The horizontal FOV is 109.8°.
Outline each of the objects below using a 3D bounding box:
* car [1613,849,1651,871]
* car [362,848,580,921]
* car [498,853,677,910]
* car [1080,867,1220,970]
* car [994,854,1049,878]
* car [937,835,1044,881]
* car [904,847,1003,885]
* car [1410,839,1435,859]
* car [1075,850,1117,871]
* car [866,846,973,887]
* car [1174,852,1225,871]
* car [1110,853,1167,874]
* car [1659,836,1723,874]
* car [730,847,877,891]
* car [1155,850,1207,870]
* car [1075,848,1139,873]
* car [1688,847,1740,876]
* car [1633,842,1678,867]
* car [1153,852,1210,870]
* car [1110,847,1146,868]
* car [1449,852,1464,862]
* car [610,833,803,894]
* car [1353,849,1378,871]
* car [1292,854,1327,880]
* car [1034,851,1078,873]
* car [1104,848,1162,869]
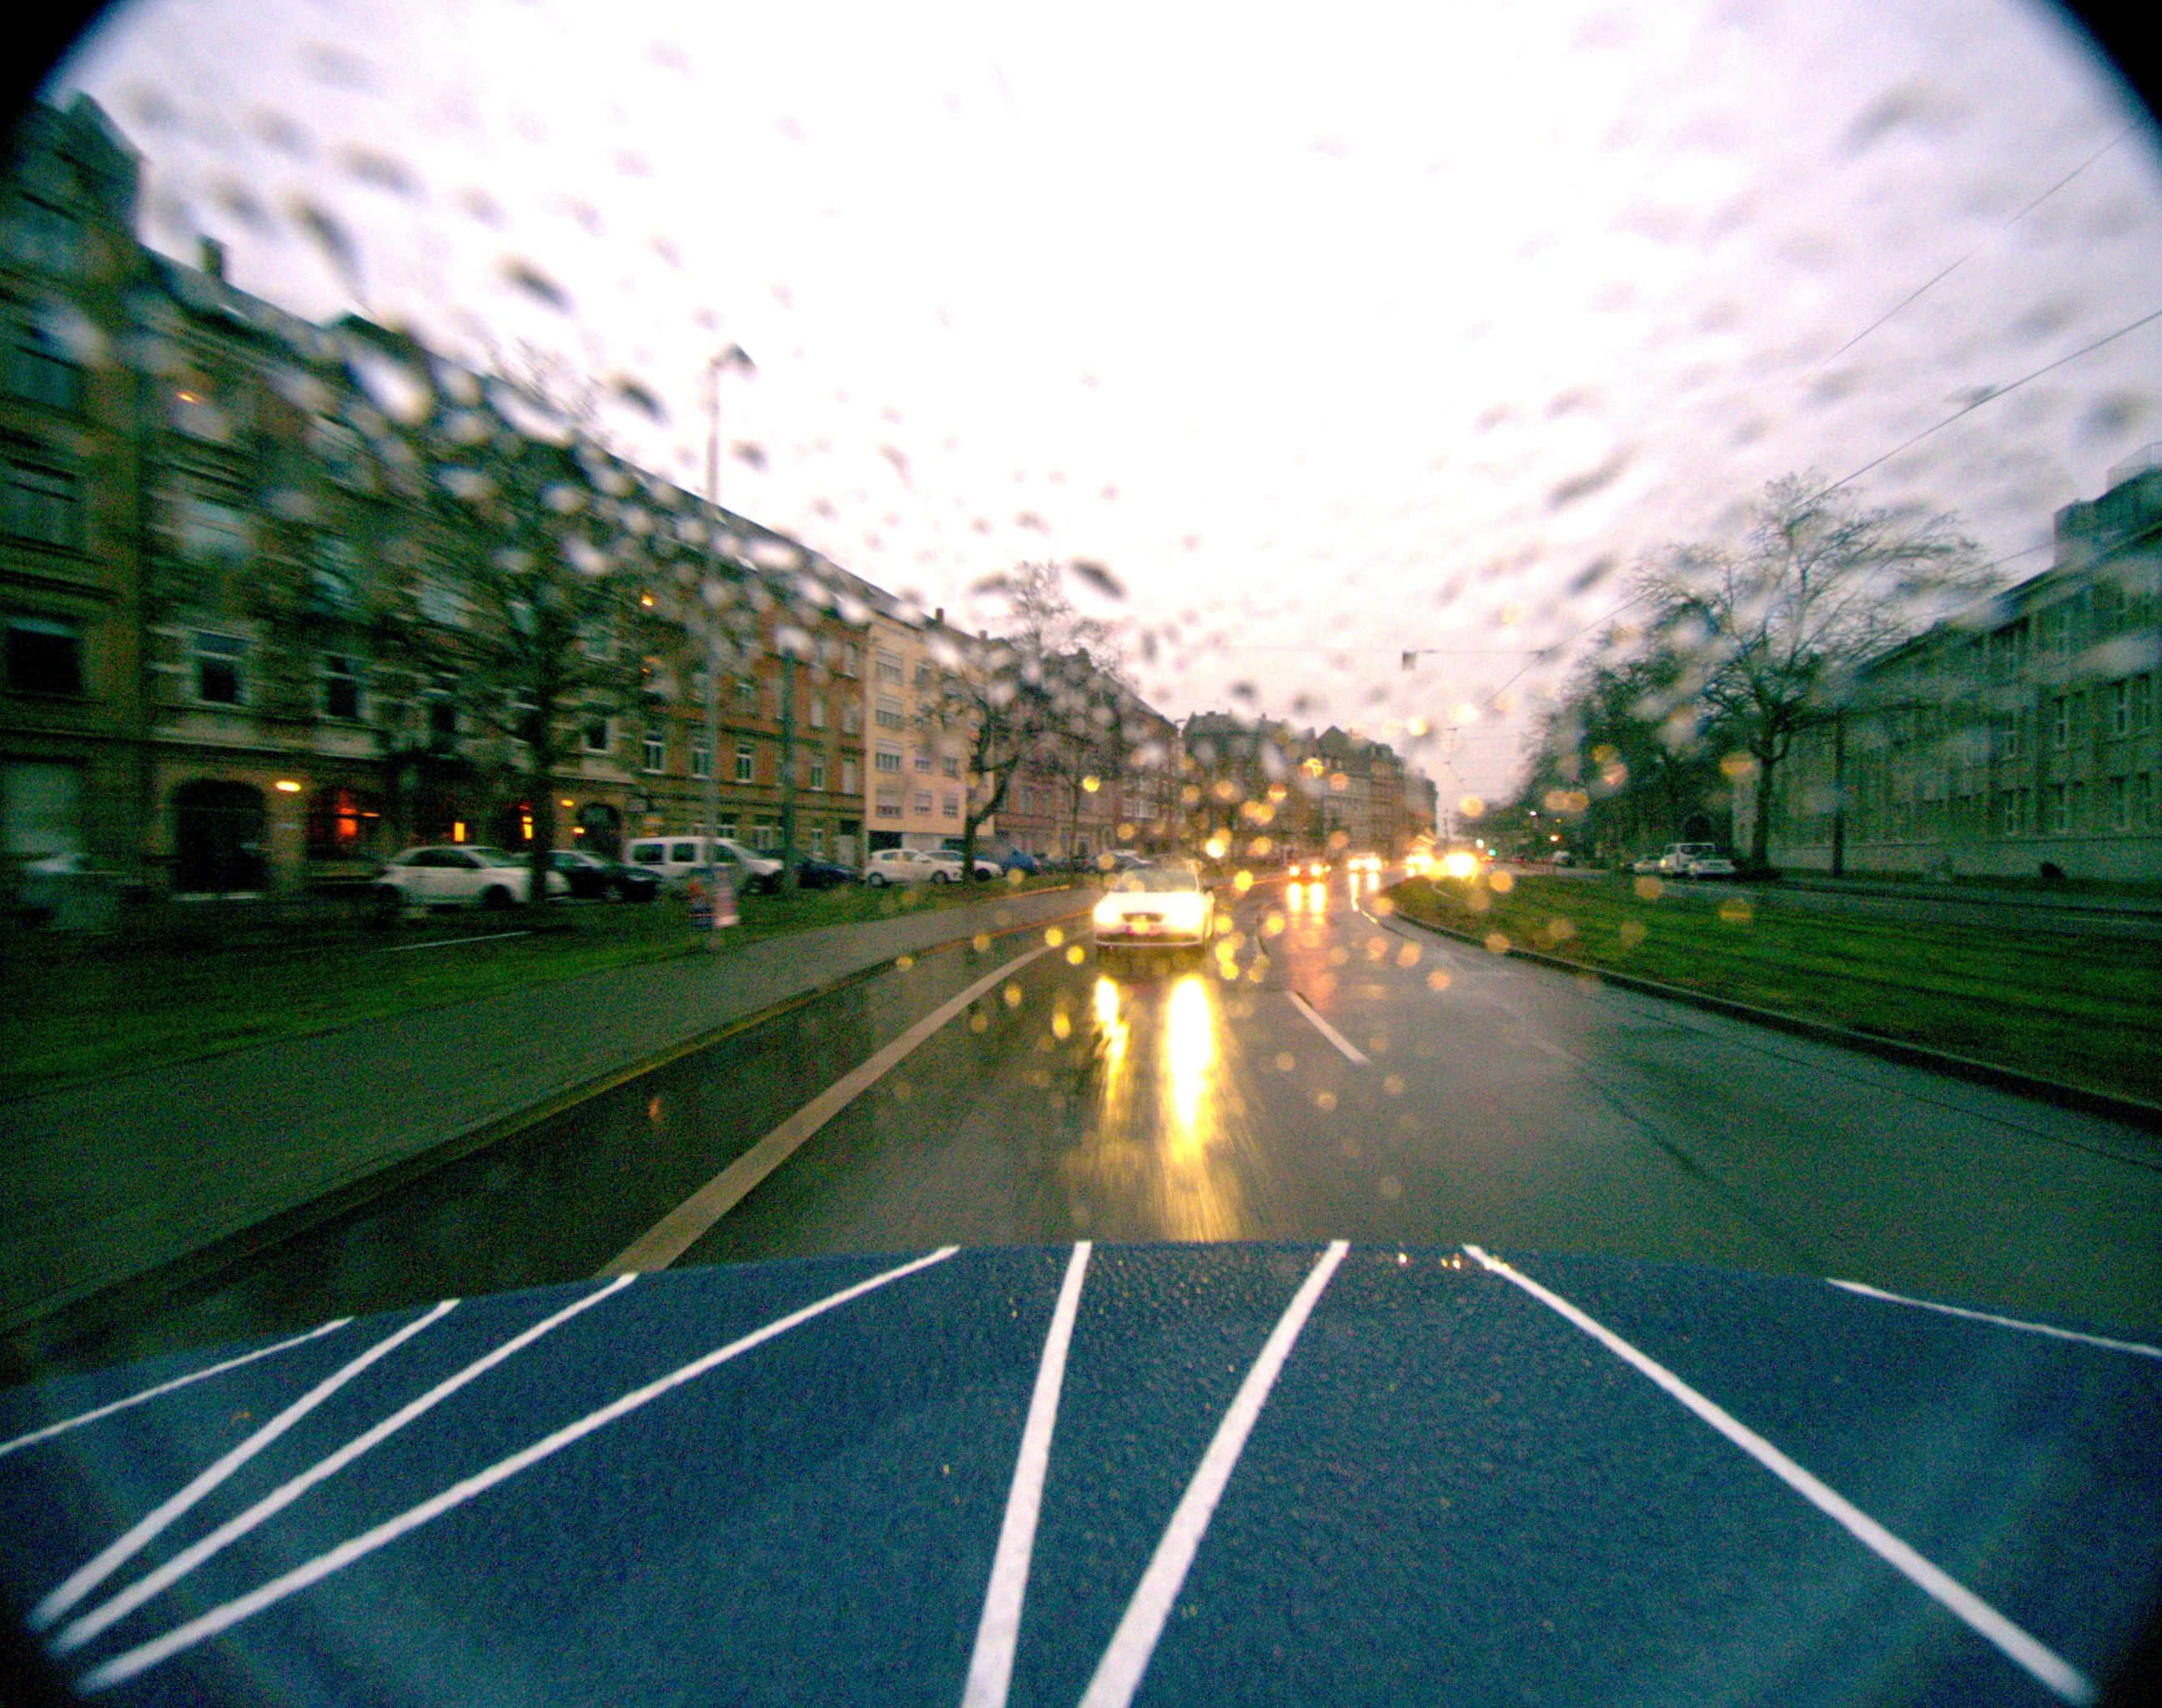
[{"bbox_3d":[42.727,0.419,58.967,1.612,1.650,3.617,0,0,23],"label":"car"},{"bbox_3d":[-13.424,0.643,16.862,3.464,1.435,1.614,-2,0,-1],"label":"car"},{"bbox_3d":[-12.537,0.677,19.482,3.432,1.343,1.663,-1,0,-6],"label":"car"},{"bbox_3d":[1.327,0.997,13.045,1.713,1.405,3.683,-2,0,15],"label":"car"},{"bbox_3d":[-4.082,0.824,52.598,1.748,1.469,4.185,-2,0,28],"label":"car"},{"bbox_3d":[-4.184,0.188,35.002,4.723,1.971,1.798,-1,0,-9],"label":"car"},{"bbox_3d":[-5.379,0.490,32.237,4.000,1.407,1.640,-2,0,-9],"label":"car"},{"bbox_3d":[42.757,-0.610,95.121,2.125,2.366,5.649,-2,0,31],"label":"car"},{"bbox_3d":[1.246,0.526,62.714,1.690,1.534,4.007,-2,0,30],"label":"car"},{"bbox_3d":[-6.299,0.491,29.939,3.772,1.424,1.761,-2,0,1],"label":"car"},{"bbox_3d":[9.289,0.559,59.825,3.762,1.346,1.602,-2,0,4],"label":"car"},{"bbox_3d":[3.917,0.629,51.820,3.763,1.324,1.602,-2,0,4],"label":"car"},{"bbox_3d":[35.261,0.032,44.051,1.995,2.002,4.517,-2,0,27],"label":"car"},{"bbox_3d":[-8.895,0.479,24.596,4.061,1.227,1.770,2,-1,-2],"label":"car"},{"bbox_3d":[7.539,0.443,57.552,3.762,1.346,1.602,-2,0,4],"label":"car"},{"bbox_3d":[1.569,0.412,47.264,3.872,1.398,1.694,-2,0,-1],"label":"car"},{"bbox_3d":[33.236,0.386,39.971,1.557,1.420,2.960,0,1,28],"label":"car"},{"bbox_3d":[40.020,0.023,53.003,1.823,1.645,3.866,-2,0,27],"label":"car"},{"bbox_3d":[7.126,0.486,54.165,3.764,1.271,1.601,0,0,-3],"label":"car"},{"bbox_3d":[4.235,0.292,68.211,1.670,1.693,3.472,-2,0,32],"label":"car"},{"bbox_3d":[62.162,0.486,125.807,1.646,1.740,3.562,1,1,35],"label":"car"},{"bbox_3d":[-10.730,0.267,22.053,4.662,1.583,1.776,2,1,-4],"label":"car"},{"bbox_3d":[22.683,0.463,60.552,1.672,1.650,4.154,-2,0,23],"label":"car"},{"bbox_3d":[13.023,0.702,43.217,1.587,1.418,3.139,0,0,24],"label":"car"},{"bbox_3d":[-1.833,0.582,57.565,1.470,1.534,3.879,1,0,30],"label":"car"},{"bbox_3d":[3.421,0.309,49.987,3.762,1.325,1.602,0,1,4],"label":"car"}]
